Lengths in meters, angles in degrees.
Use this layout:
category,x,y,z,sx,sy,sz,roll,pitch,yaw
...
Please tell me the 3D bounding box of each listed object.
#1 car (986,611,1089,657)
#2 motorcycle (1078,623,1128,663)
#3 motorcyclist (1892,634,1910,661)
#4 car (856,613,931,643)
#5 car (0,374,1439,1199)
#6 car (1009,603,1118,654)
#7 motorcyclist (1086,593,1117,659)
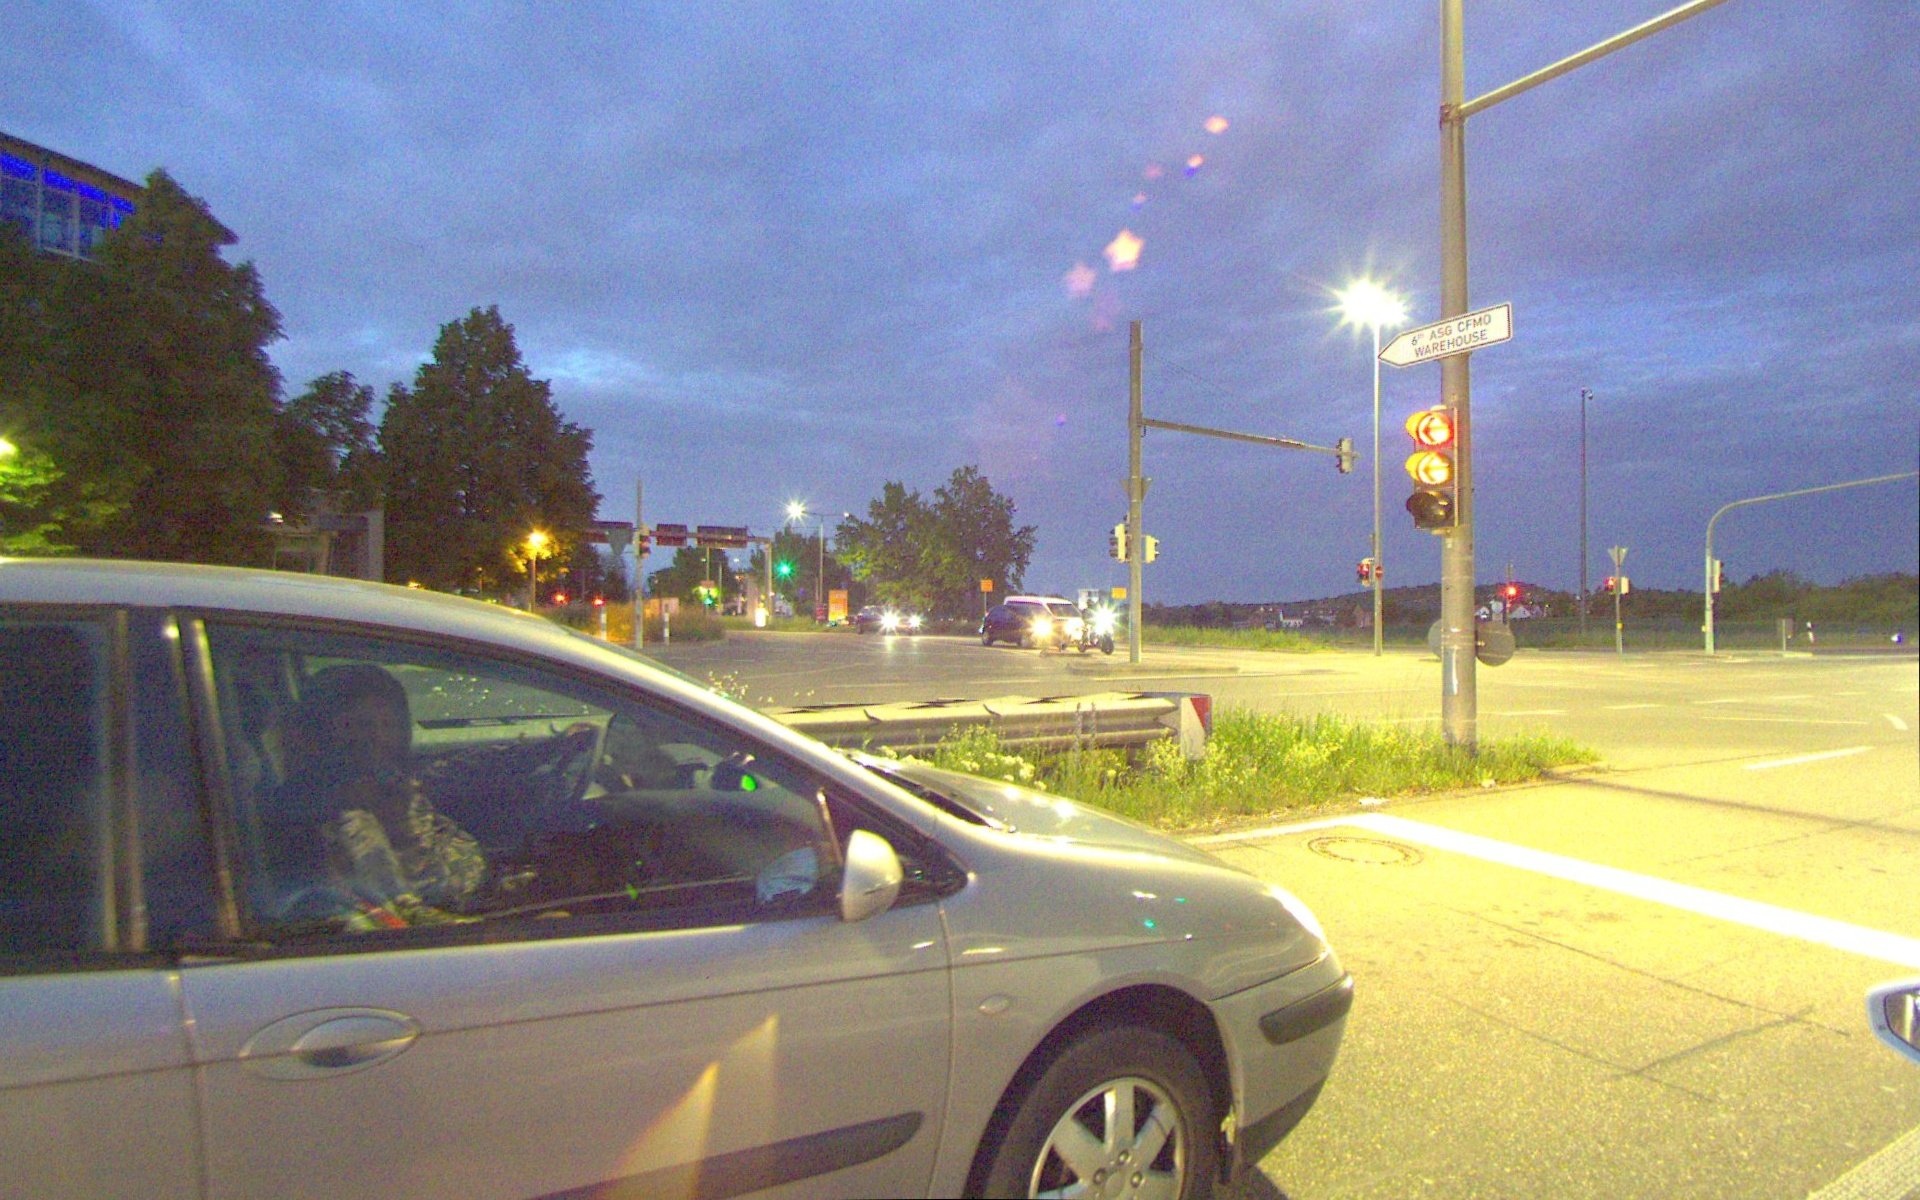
category,x,y,z,sx,sy,sz,roll,pitch,yaw
car,2.624,1.150,34.674,1.754,1.467,3.751,1,-1,-30
motorcycle,4.424,1.312,31.156,0.664,1.179,1.797,1,0,-25
motorcyclist,63.601,3.196,67.890,0.783,1.781,0.677,4,-6,-36
car,-3.452,1.393,51.146,1.856,1.416,4.798,2,-1,-31
car,-1.163,0.584,2.036,4.358,1.675,1.658,2,0,-30
car,3.922,1.066,39.048,1.827,1.838,4.737,1,-1,-29
motorcyclist,4.415,0.803,31.362,0.628,2.040,0.763,1,0,-25
